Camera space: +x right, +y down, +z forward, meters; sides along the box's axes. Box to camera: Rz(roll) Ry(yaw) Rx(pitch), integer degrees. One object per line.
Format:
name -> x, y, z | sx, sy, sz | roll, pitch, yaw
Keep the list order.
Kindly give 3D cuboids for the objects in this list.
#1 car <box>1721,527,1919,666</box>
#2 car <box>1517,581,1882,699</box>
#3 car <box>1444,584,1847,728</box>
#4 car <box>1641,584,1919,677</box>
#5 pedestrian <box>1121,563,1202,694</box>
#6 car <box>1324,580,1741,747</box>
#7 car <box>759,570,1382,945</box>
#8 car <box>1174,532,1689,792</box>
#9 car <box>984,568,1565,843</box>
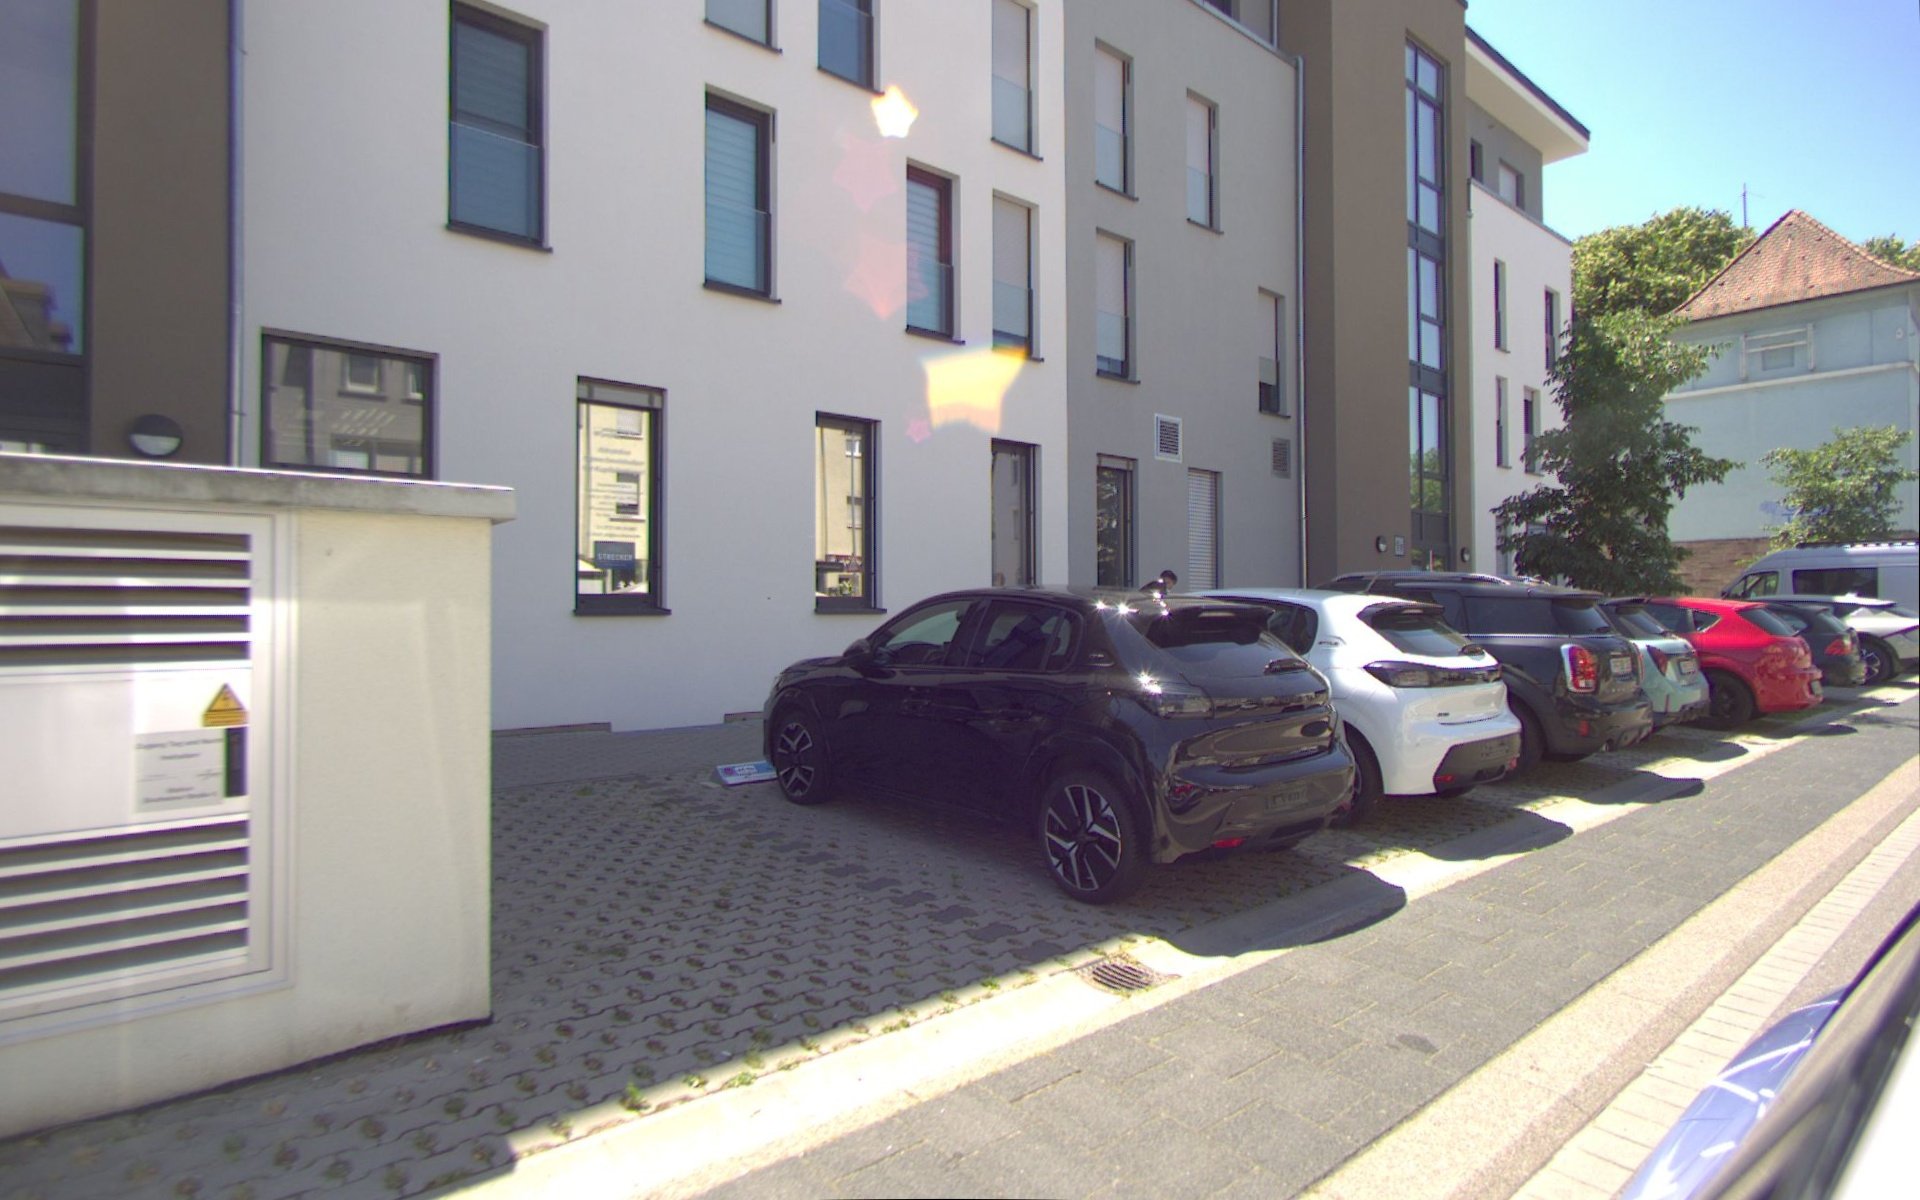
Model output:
car -> 19.321, -0.084, 21.412 | 1.818, 2.770, 4.865 | 0, 0, -39
car -> 11.240, 0.515, 15.645 | 1.624, 1.570, 4.352 | 0, 0, -42
car -> 8.214, 0.560, 12.390 | 1.623, 1.481, 3.815 | 0, 0, -41
car -> 15.363, 0.491, 18.676 | 1.688, 1.549, 4.379 | 0, 0, -40
pedestrian -> 2.741, 0.369, 13.745 | 0.989, 1.705, 0.576 | 0, -1, -39
car -> 6.020, 0.539, 10.947 | 1.588, 1.480, 3.614 | 0, 1, -41
car -> 0.341, 0.578, 5.928 | 1.507, 1.463, 3.667 | 0, 2, -38
car -> 4.030, 0.419, 9.096 | 1.809, 1.809, 3.814 | 0, 0, -41
car -> 2.105, 0.562, 7.554 | 1.747, 1.501, 3.814 | 0, 0, -41
